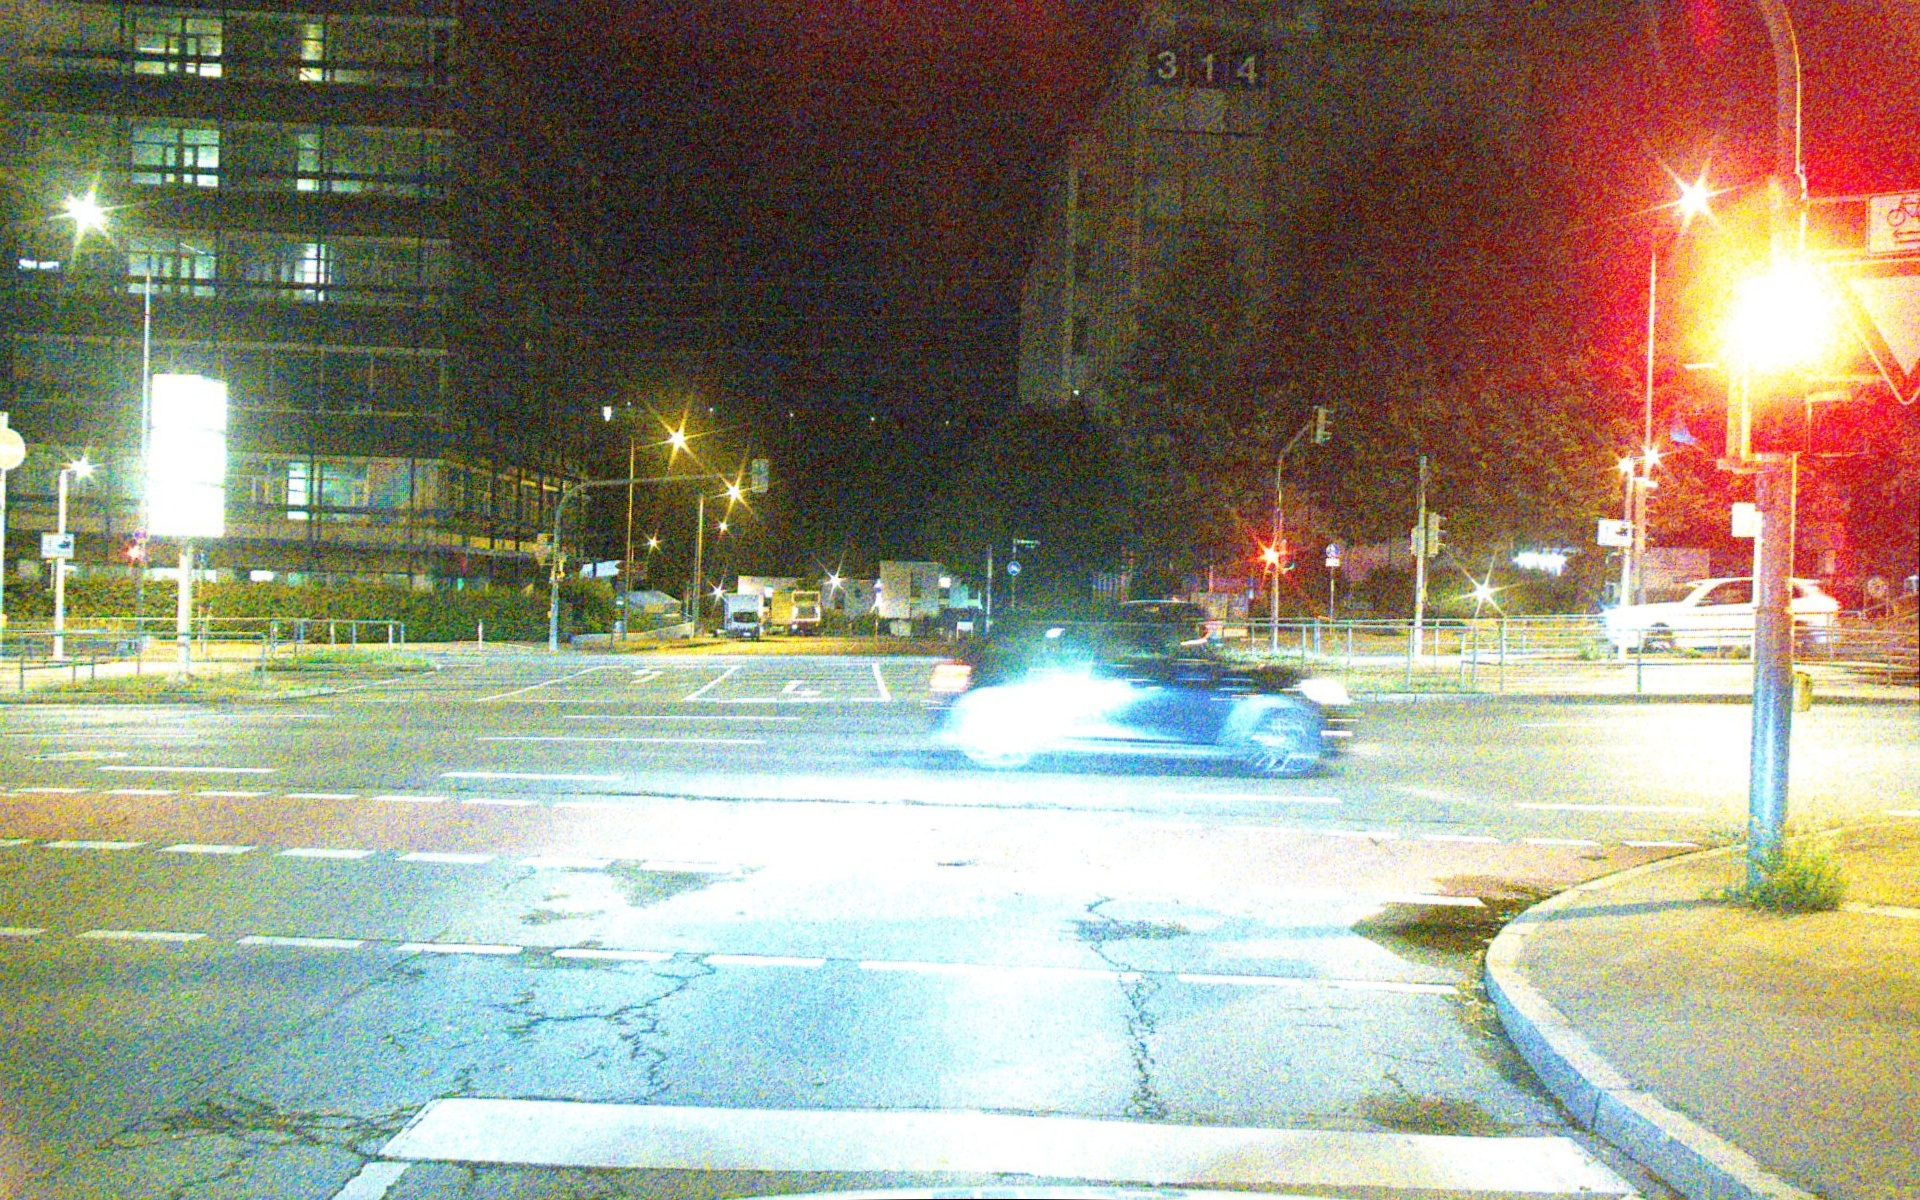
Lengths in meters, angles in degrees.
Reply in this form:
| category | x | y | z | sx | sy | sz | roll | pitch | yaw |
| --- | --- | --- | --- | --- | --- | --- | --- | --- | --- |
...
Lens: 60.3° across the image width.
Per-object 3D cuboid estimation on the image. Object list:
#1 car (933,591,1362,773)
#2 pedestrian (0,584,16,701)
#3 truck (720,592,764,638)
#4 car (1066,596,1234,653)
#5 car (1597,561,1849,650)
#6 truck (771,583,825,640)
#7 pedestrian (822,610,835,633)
| category | x | y | z | sx | sy | sz | roll | pitch | yaw |
| --- | --- | --- | --- | --- | --- | --- | --- | --- | --- |
| car | 1.674 | 0.726 | 15.515 | 3.797 | 1.499 | 1.659 | -1 | 3 | 0 |
| pedestrian | -14.779 | 0.635 | 24.881 | 0.663 | 1.752 | 0.706 | 1 | -1 | 24 |
| truck | -15.785 | 1.085 | 119.421 | 2.377 | 3.143 | 6.414 | 2 | -1 | -14 |
| car | 4.912 | 0.637 | 43.159 | 4.237 | 1.412 | 1.843 | -1 | -1 | 2 |
| car | 16.710 | 0.131 | 36.378 | 4.680 | 1.877 | 1.843 | 0 | -1 | 2 |
| truck | -14.616 | 1.025 | 148.611 | 3.307 | 4.927 | 7.868 | 2 | -1 | -17 |
| pedestrian | -11.713 | 1.907 | 147.256 | 0.836 | 1.945 | 1.001 | 2 | -1 | -18 |
